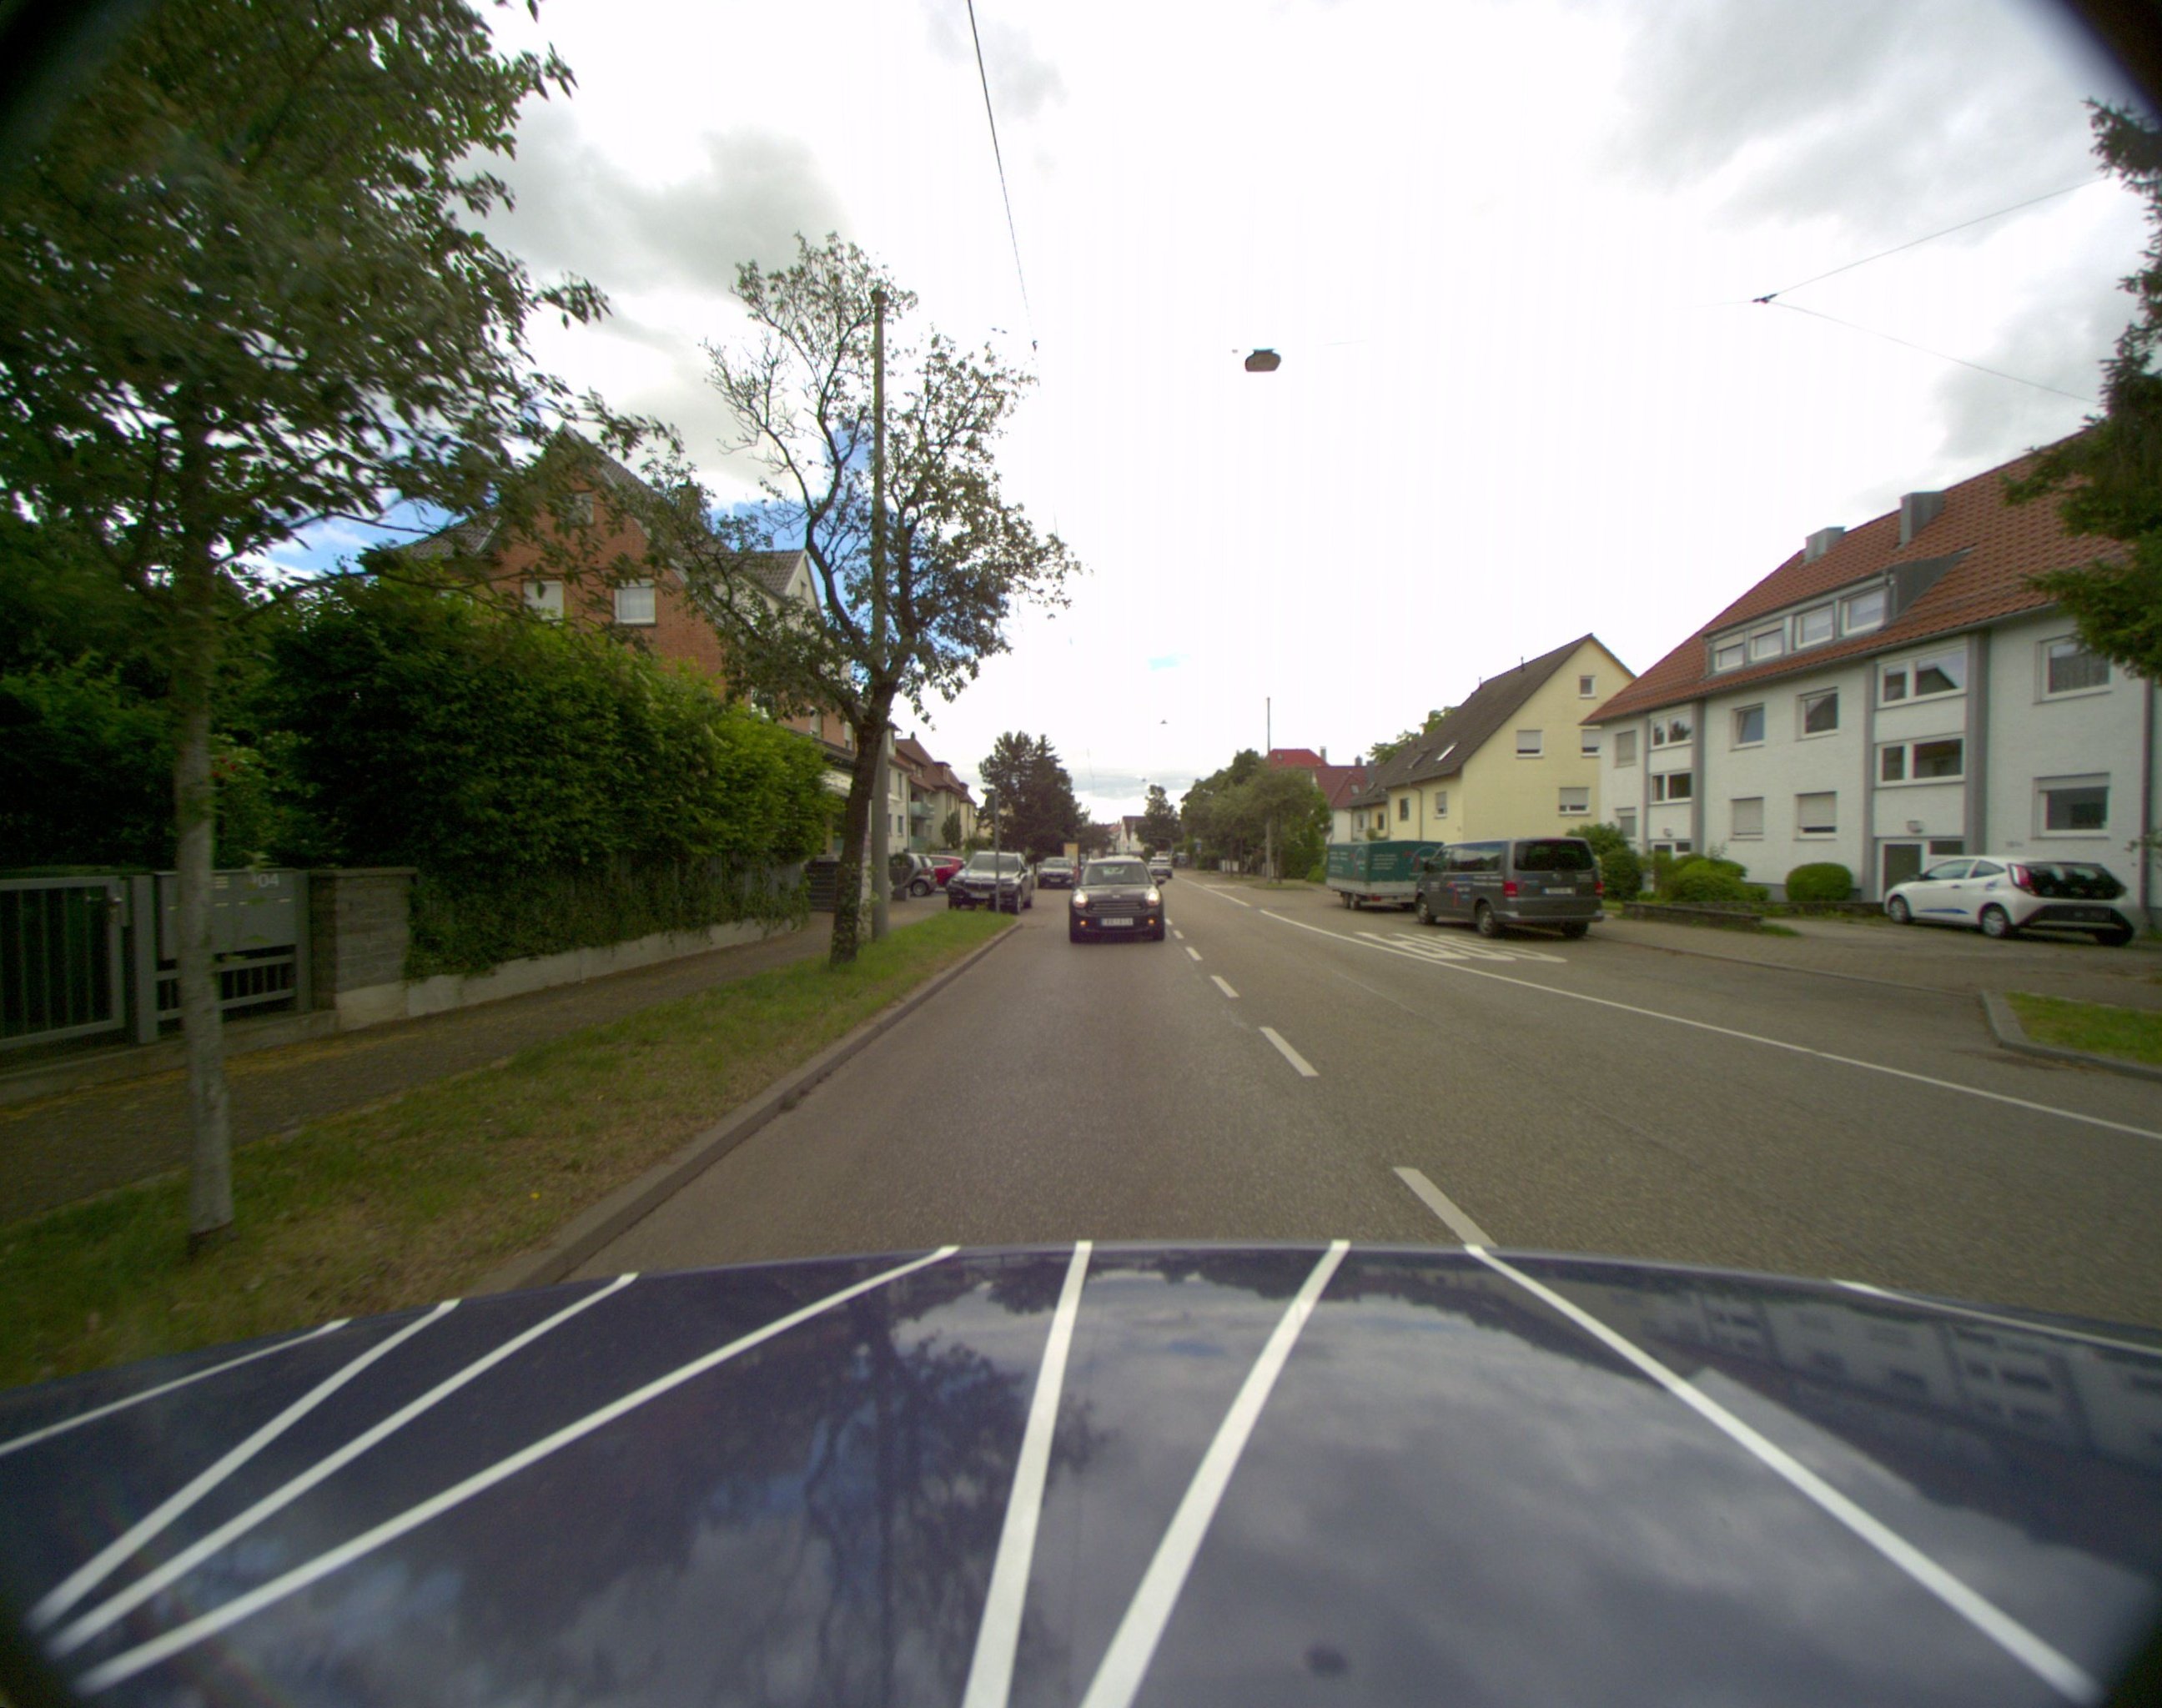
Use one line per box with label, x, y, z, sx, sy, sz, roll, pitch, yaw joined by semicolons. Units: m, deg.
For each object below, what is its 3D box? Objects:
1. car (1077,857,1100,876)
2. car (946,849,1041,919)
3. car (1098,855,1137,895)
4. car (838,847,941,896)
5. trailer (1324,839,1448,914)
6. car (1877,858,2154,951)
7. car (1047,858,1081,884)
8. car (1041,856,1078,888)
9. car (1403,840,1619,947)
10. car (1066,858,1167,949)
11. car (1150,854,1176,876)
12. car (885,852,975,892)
car;0.630;0.999;62.308;1.680;1.573;3.685;0;0;4
car;-2.468;0.794;22.653;1.902;1.826;4.916;1;0;4
car;1.603;0.853;32.777;1.590;1.598;3.685;0;0;4
car;-7.008;0.637;28.080;3.360;1.624;1.580;3;0;-2
trailer;9.153;0.627;23.255;2.159;2.076;4.426;0;0;2
car;16.947;0.825;14.059;1.627;1.477;3.431;0;0;18
car;-0.942;0.951;44.320;1.680;1.414;3.685;0;0;4
car;-1.092;0.892;39.933;1.728;1.582;4.157;1;0;1
car;8.815;0.722;16.204;1.998;1.938;4.899;0;0;3
car;0.739;0.883;15.151;1.743;1.573;3.685;-1;0;4
car;6.281;0.806;58.742;1.825;1.594;4.300;-1;0;4
car;-6.114;0.718;31.095;3.361;1.450;1.749;3;0;-4
